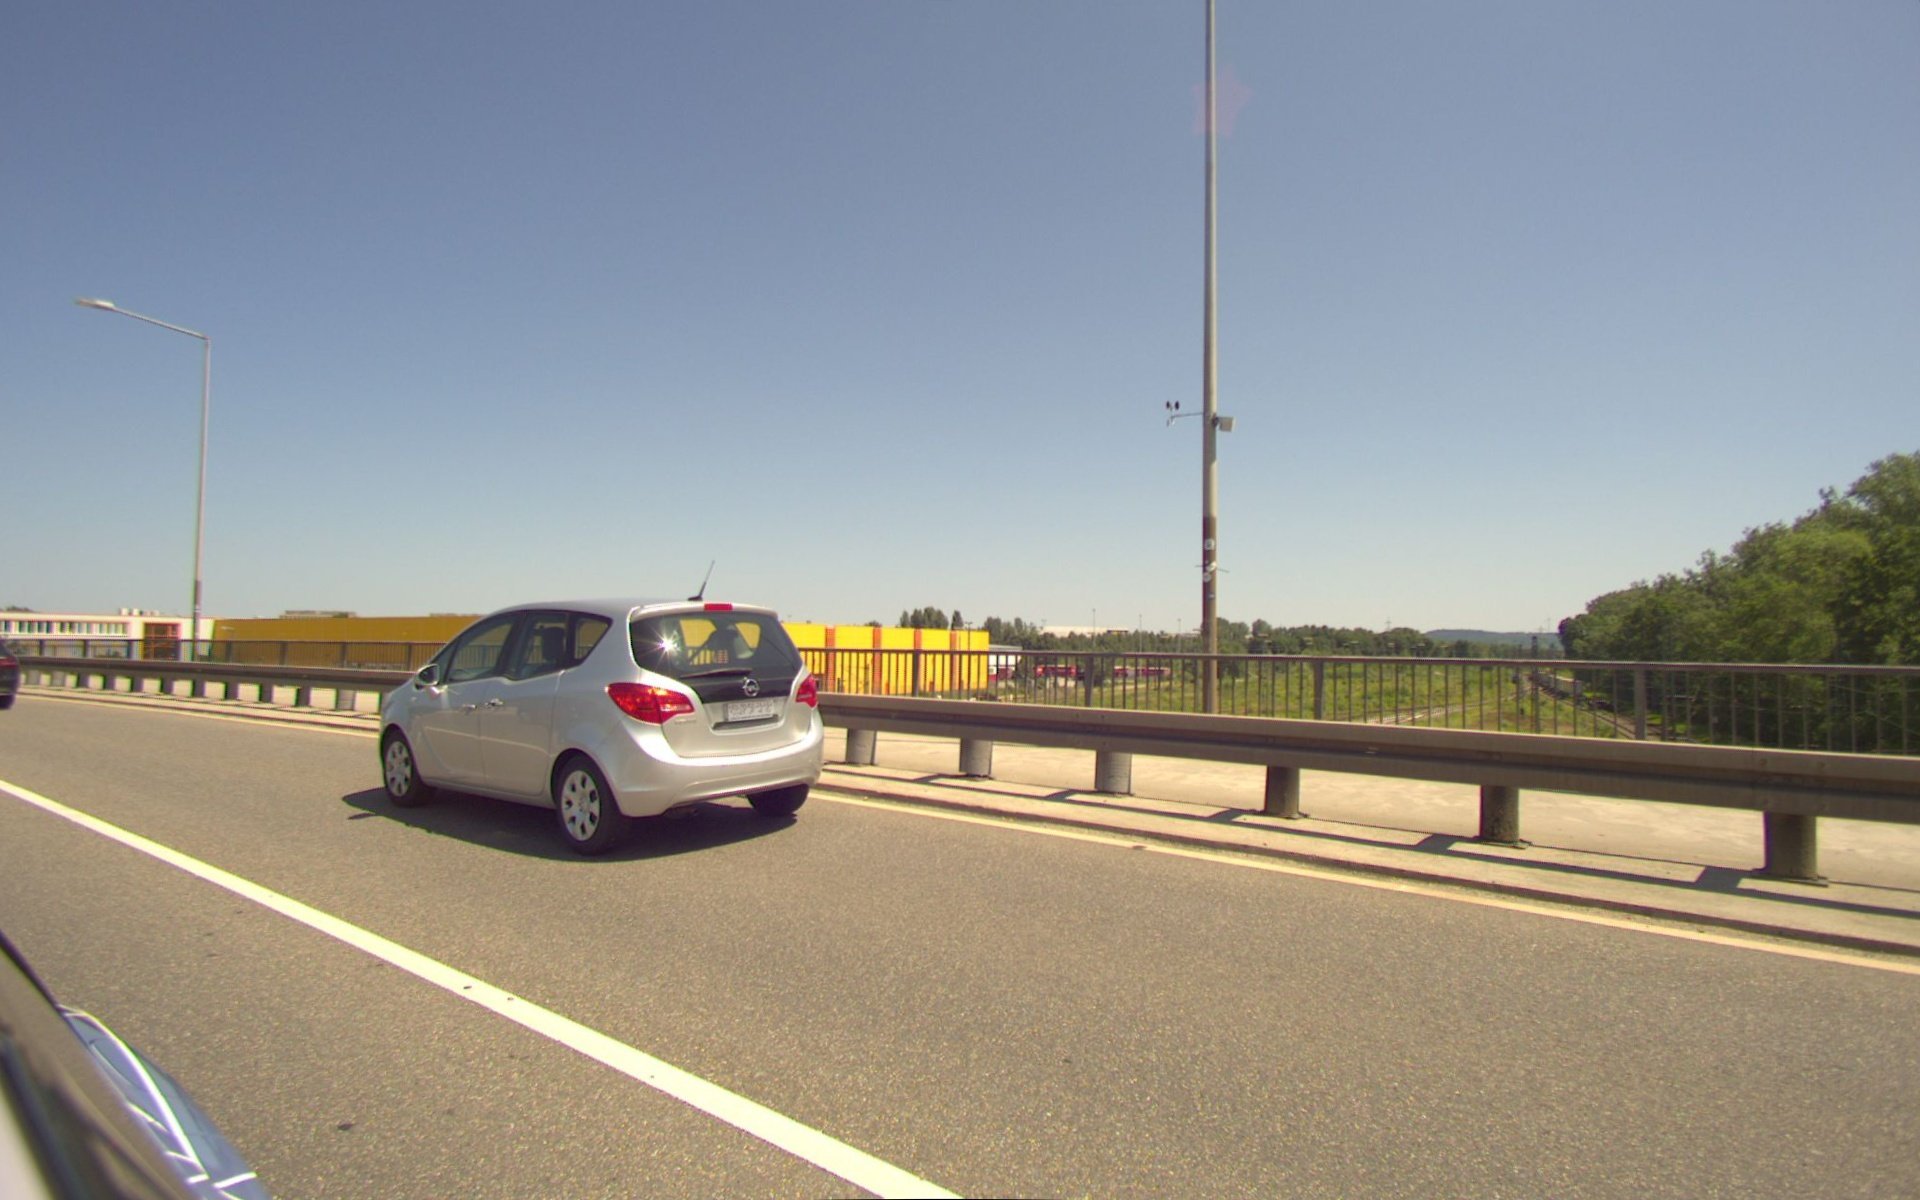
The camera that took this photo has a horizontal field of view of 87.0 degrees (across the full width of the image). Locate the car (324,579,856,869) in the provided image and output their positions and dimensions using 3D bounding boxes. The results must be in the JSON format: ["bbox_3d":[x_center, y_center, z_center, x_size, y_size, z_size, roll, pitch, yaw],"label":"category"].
[{"bbox_3d":[-2.885,0.732,7.506,4.169,1.592,1.721,-1,-2,37],"label":"car"}]

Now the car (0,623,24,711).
[{"bbox_3d":[-18.115,1.138,17.425,4.375,1.449,1.759,-1,-2,30],"label":"car"}]
